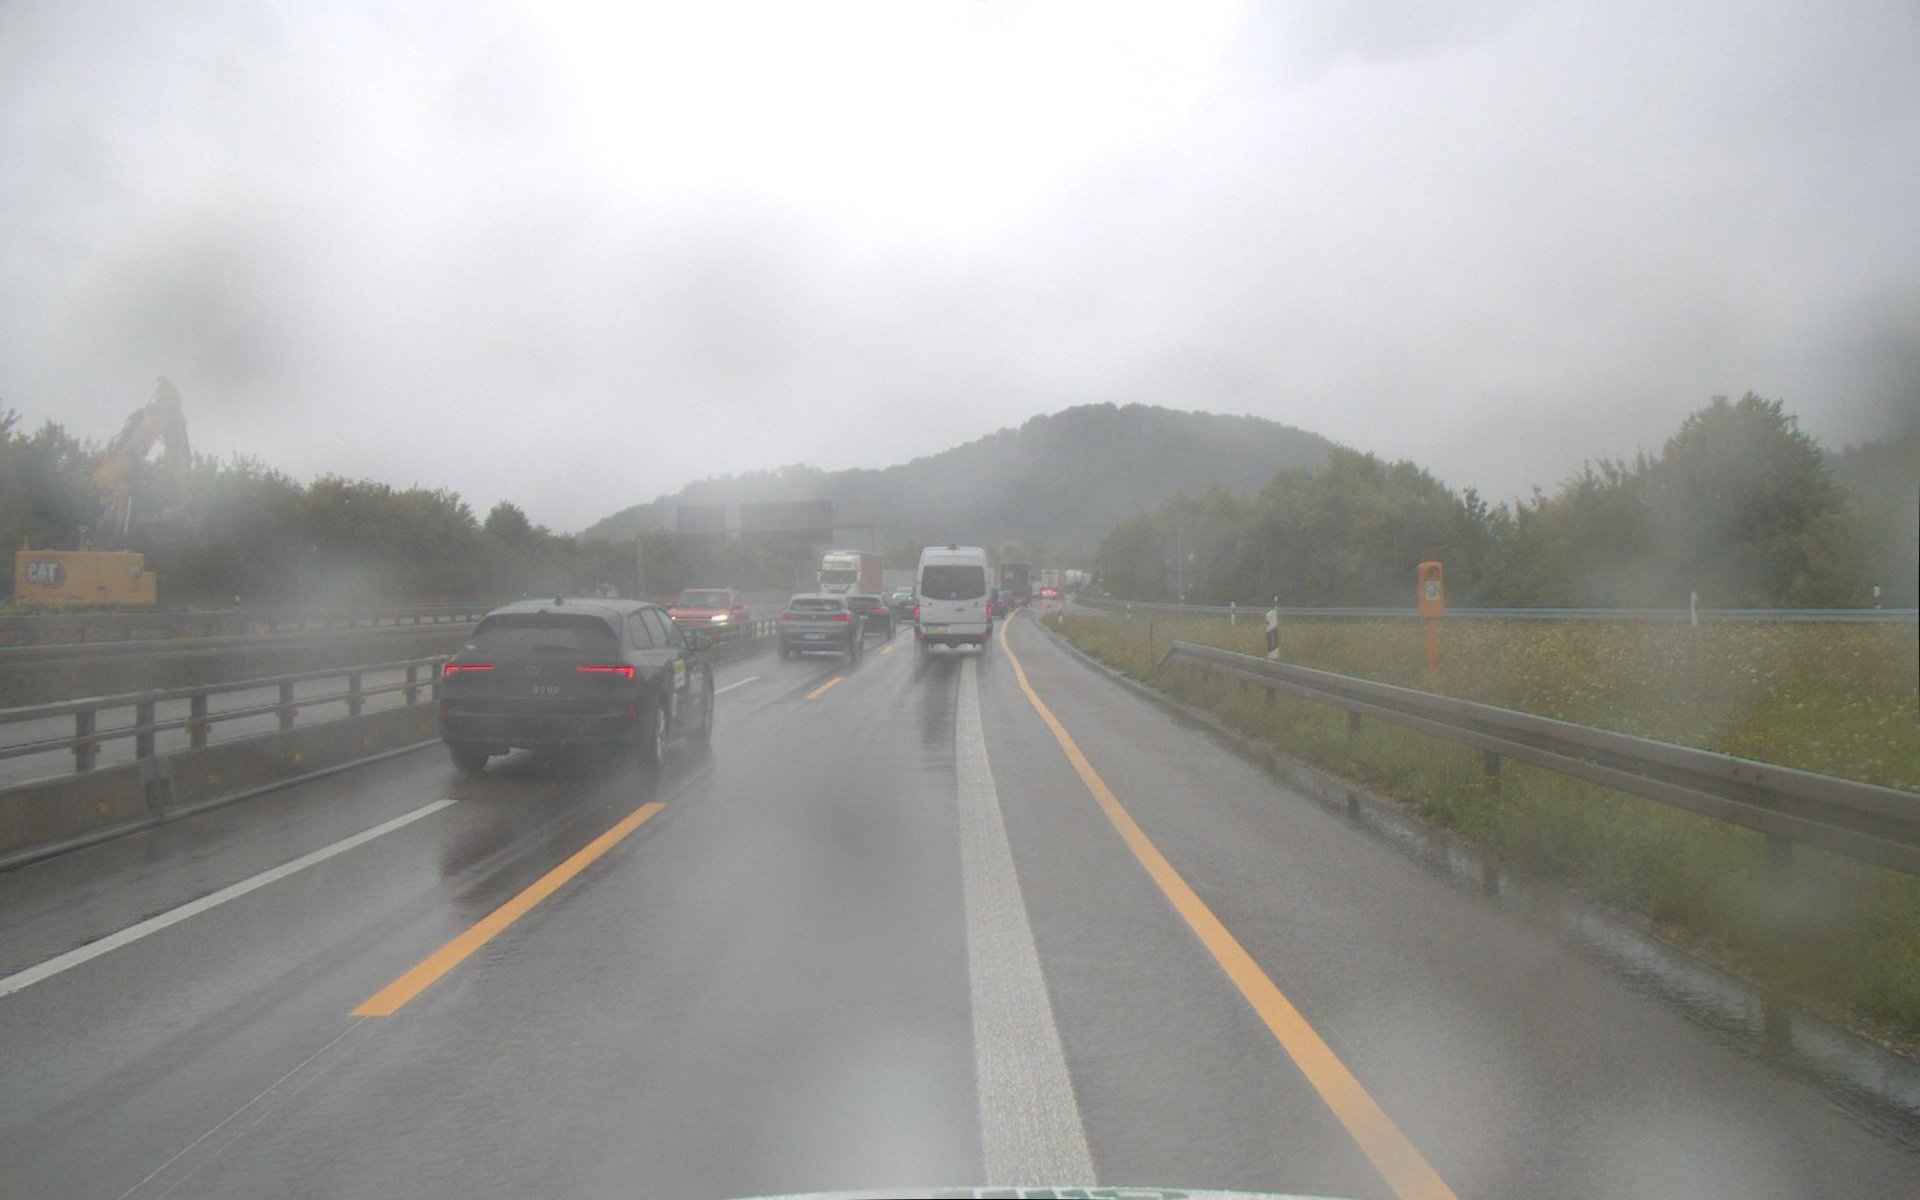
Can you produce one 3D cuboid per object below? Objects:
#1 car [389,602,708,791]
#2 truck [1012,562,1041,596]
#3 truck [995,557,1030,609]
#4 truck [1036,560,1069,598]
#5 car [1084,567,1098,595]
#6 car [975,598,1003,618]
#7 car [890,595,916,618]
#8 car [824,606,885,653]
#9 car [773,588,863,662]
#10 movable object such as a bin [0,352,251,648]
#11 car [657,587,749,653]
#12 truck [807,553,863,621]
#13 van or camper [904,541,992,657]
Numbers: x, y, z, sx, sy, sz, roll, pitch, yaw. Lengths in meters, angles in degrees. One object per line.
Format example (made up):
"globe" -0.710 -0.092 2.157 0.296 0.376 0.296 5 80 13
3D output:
"car" -3.576 0.760 15.314 1.900 1.452 4.758 1 0 -2
"truck" 7.969 -2.444 198.852 3.251 3.827 9.909 1 0 2
"truck" 5.179 -1.570 161.289 3.251 4.868 9.909 1 0 2
"truck" 12.810 -2.834 228.078 3.845 4.868 9.913 1 0 7
"car" 19.952 -2.843 251.914 2.014 4.265 6.750 0 0 4
"car" 1.654 0.446 94.889 1.357 1.097 3.120 0 0 -4
"car" -2.780 0.299 80.987 1.237 1.097 3.253 0 0 -1
"car" -3.586 0.984 56.857 1.814 1.527 4.000 0 0 0
"car" -3.336 0.561 39.541 1.829 1.688 3.988 0 0 0
"movable object such as a bin" -25.544 -2.813 50.819 3.521 8.286 8.310 1 0 2
"car" -6.689 0.500 43.435 1.765 1.621 4.183 1 0 -1
"truck" -8.297 -0.871 110.469 2.945 4.347 6.802 -1 0 2
"van or camper" -0.239 -0.031 41.905 2.095 2.769 4.649 0 0 1
